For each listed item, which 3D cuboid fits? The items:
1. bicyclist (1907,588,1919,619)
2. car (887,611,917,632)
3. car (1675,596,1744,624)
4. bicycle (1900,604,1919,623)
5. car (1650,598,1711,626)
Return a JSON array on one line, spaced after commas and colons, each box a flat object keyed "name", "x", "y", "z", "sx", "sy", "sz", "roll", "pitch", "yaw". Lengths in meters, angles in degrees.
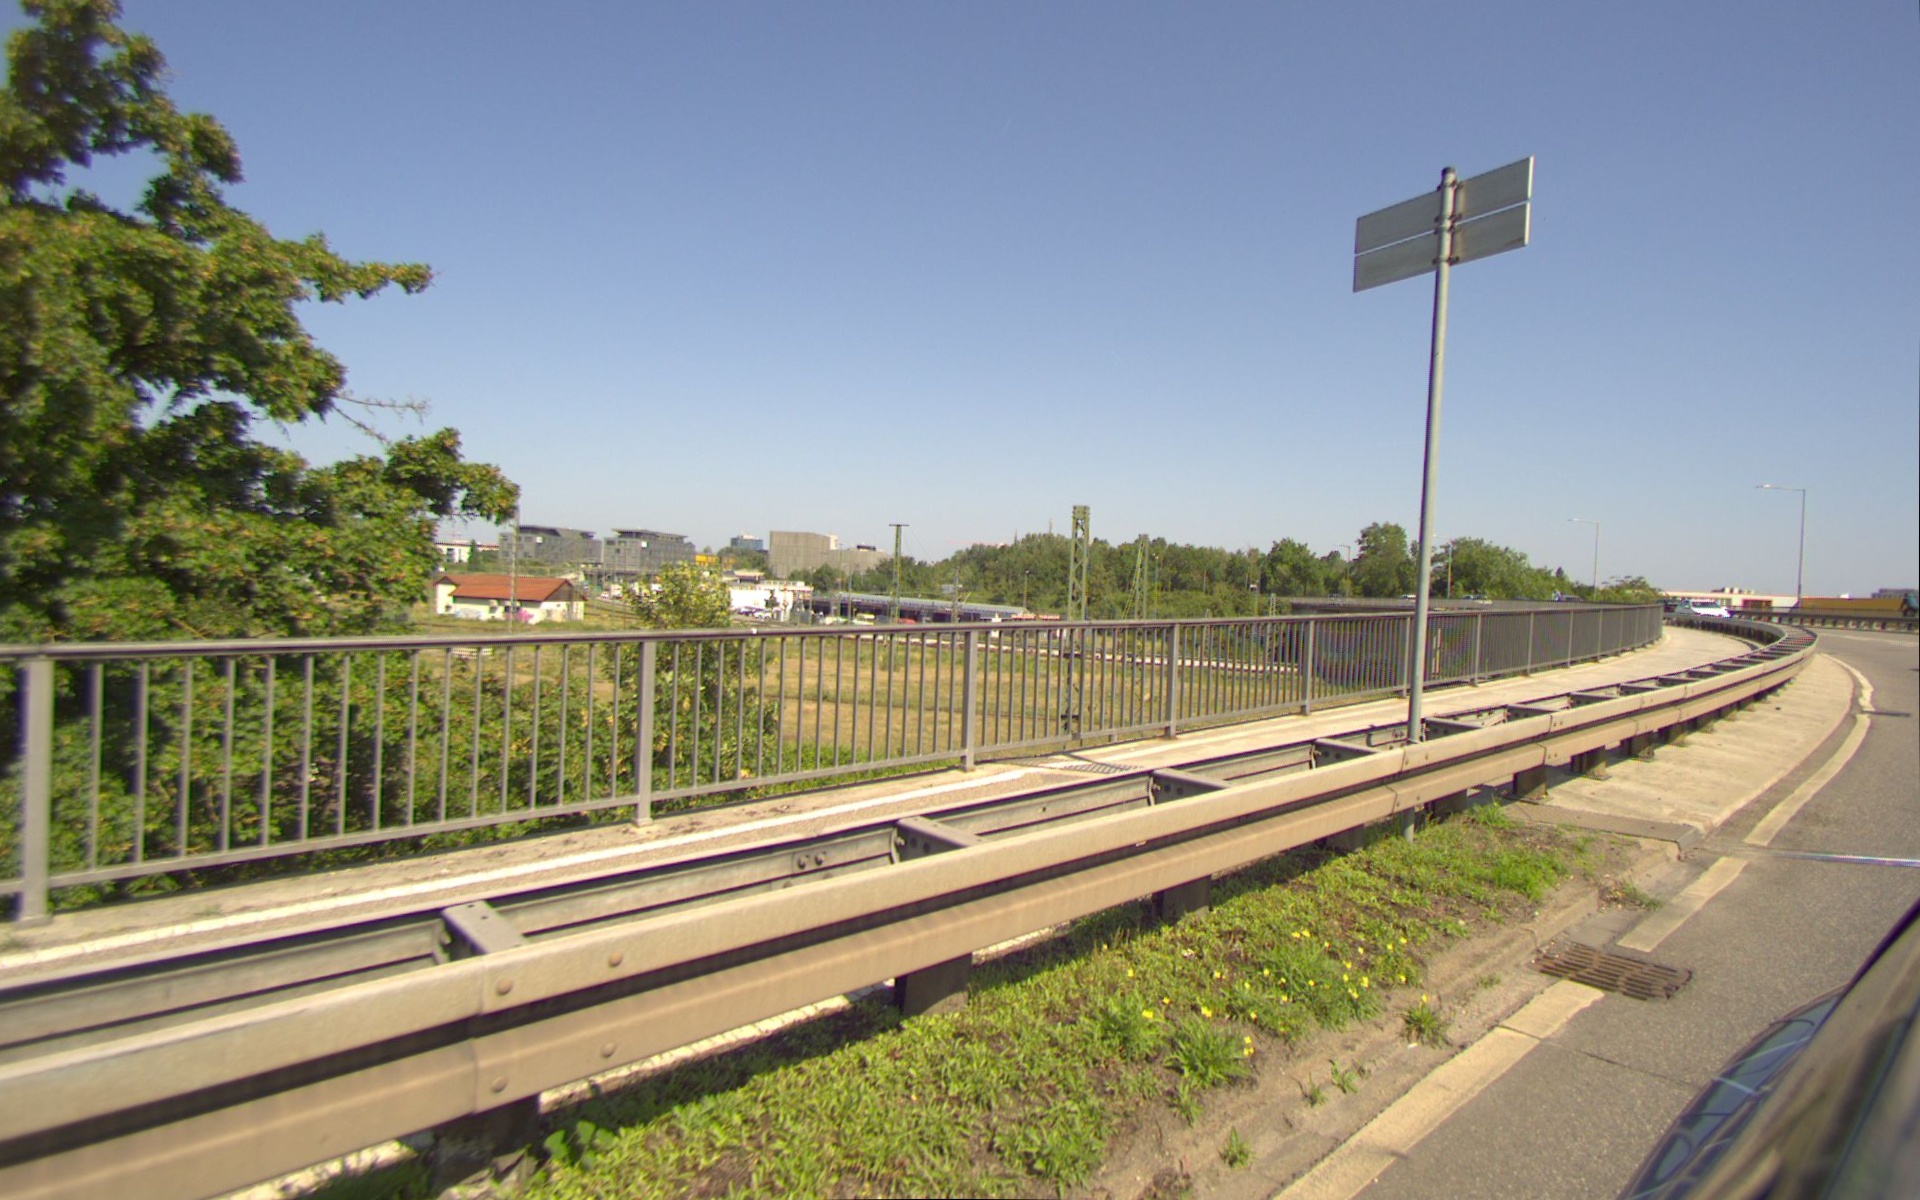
[{"name": "bicyclist", "x": 47.409, "y": 0.157, "z": 49.976, "sx": 0.656, "sy": 1.515, "sz": 1.007, "roll": 0, "pitch": 0, "yaw": 26}, {"name": "car", "x": -9.112, "y": 3.351, "z": 157.942, "sx": 2.265, "sy": 2.694, "sz": 5.382, "roll": -5, "pitch": 5, "yaw": -33}, {"name": "car", "x": 41.808, "y": 0.526, "z": 56.586, "sx": 1.822, "sy": 1.507, "sz": 4.128, "roll": 0, "pitch": 0, "yaw": 17}, {"name": "bicycle", "x": 47.390, "y": 0.671, "z": 49.967, "sx": 0.922, "sy": 0.902, "sz": 1.949, "roll": 1, "pitch": 0, "yaw": 26}, {"name": "car", "x": 49.749, "y": 0.773, "z": 70.008, "sx": 1.820, "sy": 1.849, "sz": 4.669, "roll": 0, "pitch": 0, "yaw": 14}]
